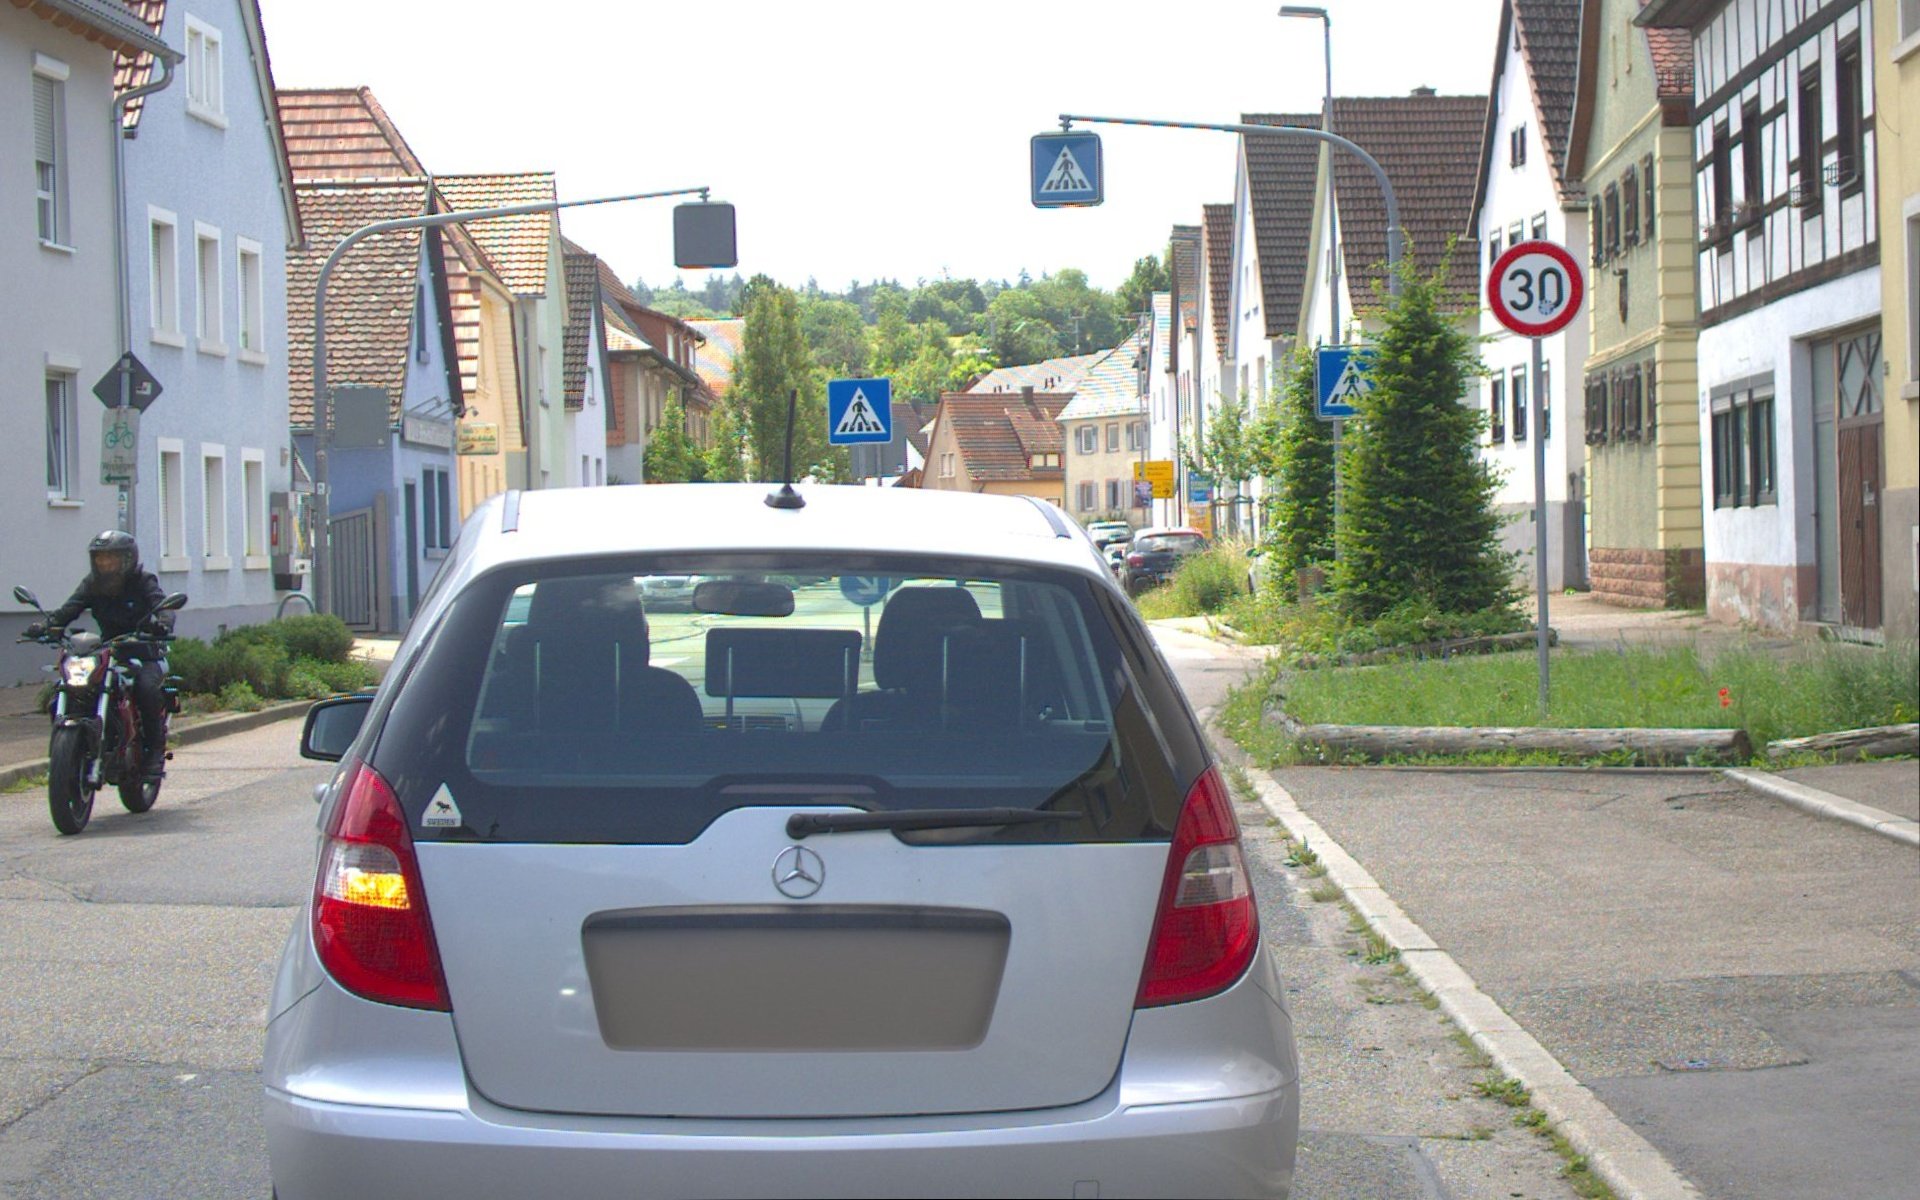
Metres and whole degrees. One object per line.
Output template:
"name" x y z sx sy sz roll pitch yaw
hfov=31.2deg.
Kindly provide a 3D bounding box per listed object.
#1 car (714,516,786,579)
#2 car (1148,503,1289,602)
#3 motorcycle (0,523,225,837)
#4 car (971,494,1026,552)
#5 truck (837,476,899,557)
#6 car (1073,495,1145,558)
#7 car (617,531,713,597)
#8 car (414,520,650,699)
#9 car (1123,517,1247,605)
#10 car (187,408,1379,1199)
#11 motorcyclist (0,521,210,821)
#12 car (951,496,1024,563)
"car" -5.590 -1.384 92.027 1.667 1.590 4.000 0 -1 0
"car" 4.139 -0.745 55.668 1.993 1.503 4.000 0 -1 0
"motorcycle" -4.531 0.376 18.036 0.880 1.555 1.967 0 1 1
"car" 1.430 -2.855 128.110 1.993 2.007 4.000 0 -1 0
"truck" -3.116 -2.823 117.744 1.993 2.528 6.739 0 -1 -1
"car" 4.564 -2.255 105.802 1.993 1.810 4.000 0 -1 -1
"car" -6.269 -0.740 73.073 1.993 1.317 3.709 0 -1 -5
"car" -3.930 0.102 32.078 1.500 1.535 3.856 1 0 3
"car" 4.034 -0.688 62.276 1.993 1.503 4.000 0 -1 0
"car" -0.480 0.525 7.135 1.810 1.638 3.730 1 1 -7
"motorcyclist" -4.507 0.359 18.163 0.896 1.549 0.807 0 1 1
"car" 0.754 -1.994 98.226 1.993 1.810 4.000 0 -1 -1
